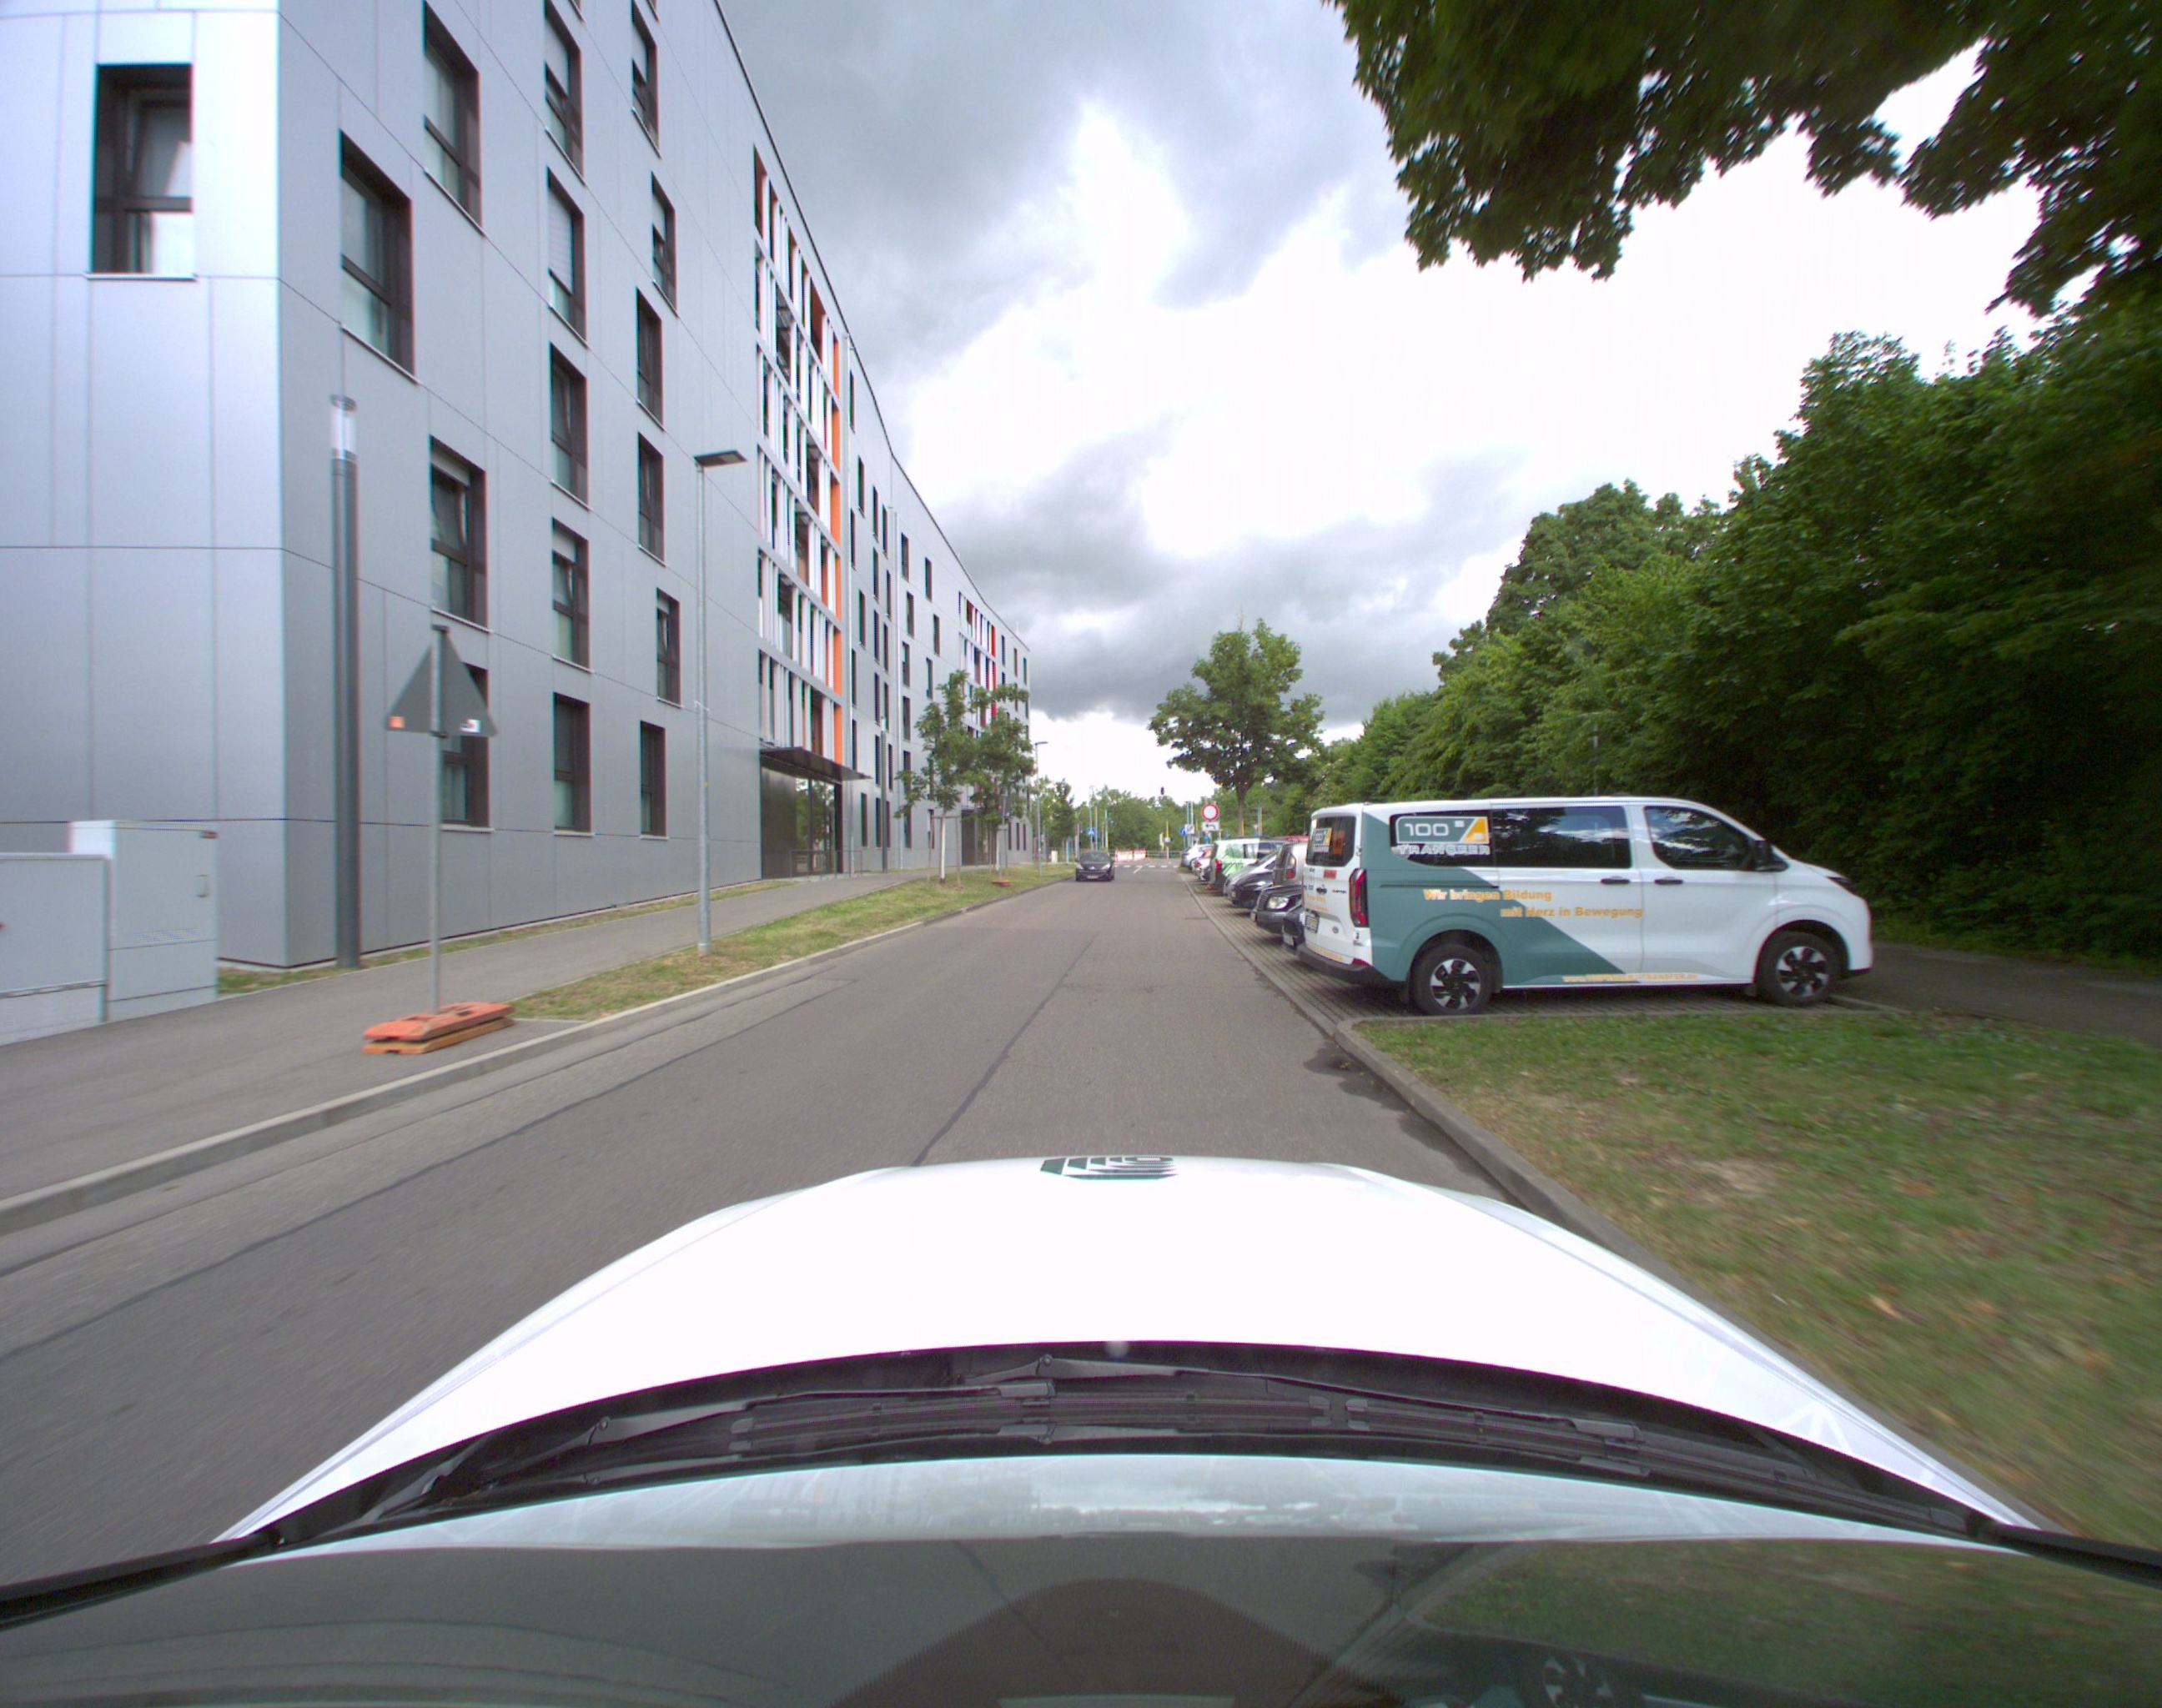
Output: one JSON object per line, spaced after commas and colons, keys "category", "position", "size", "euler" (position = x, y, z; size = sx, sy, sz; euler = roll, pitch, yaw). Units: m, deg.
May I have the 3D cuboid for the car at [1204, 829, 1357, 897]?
{"category": "car", "position": [6.196, 0.269, 25.692], "size": [4.360, 1.904, 1.918], "euler": [-2, 0, 3]}

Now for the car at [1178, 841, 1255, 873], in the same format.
{"category": "car", "position": [8.056, 0.160, 48.723], "size": [4.360, 1.903, 1.918], "euler": [0, 1, 3]}

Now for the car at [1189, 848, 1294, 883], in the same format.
{"category": "car", "position": [7.102, 0.494, 36.383], "size": [4.360, 1.475, 1.918], "euler": [0, 1, 3]}

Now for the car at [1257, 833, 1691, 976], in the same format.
{"category": "car", "position": [4.805, 0.593, 10.533], "size": [4.683, 1.516, 1.848], "euler": [-2, 0, 3]}

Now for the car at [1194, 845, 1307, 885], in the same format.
{"category": "car", "position": [6.943, 0.444, 33.651], "size": [4.360, 1.573, 1.918], "euler": [0, 0, 3]}

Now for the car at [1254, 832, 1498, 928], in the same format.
{"category": "car", "position": [5.567, 0.465, 15.781], "size": [4.048, 1.609, 1.894], "euler": [-2, 0, 3]}

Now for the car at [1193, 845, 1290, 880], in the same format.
{"category": "car", "position": [7.611, 0.393, 38.972], "size": [4.360, 1.617, 1.918], "euler": [0, 1, 3]}

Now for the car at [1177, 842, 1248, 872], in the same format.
{"category": "car", "position": [8.515, 0.161, 53.057], "size": [4.360, 1.903, 1.918], "euler": [0, 1, 3]}

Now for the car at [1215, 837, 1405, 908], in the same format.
{"category": "car", "position": [5.754, 0.448, 20.902], "size": [4.360, 1.577, 1.918], "euler": [-2, 0, 3]}

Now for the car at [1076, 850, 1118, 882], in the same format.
{"category": "car", "position": [0.795, 0.535, 38.809], "size": [1.600, 1.388, 4.008], "euler": [1, 1, 7]}

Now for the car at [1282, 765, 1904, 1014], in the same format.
{"category": "car", "position": [4.715, 0.295, 8.030], "size": [4.957, 1.972, 1.846], "euler": [-2, 0, -1]}

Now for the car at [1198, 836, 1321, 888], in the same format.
{"category": "car", "position": [6.773, 0.283, 31.254], "size": [4.360, 1.904, 1.938], "euler": [0, 1, 3]}

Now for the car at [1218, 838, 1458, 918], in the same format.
{"category": "car", "position": [5.624, 0.498, 18.303], "size": [4.709, 1.498, 2.112], "euler": [-2, 0, 0]}

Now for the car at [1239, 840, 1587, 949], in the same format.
{"category": "car", "position": [5.038, 0.594, 12.975], "size": [4.702, 1.434, 2.059], "euler": [-2, 0, 4]}

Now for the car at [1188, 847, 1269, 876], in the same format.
{"category": "car", "position": [8.321, 0.382, 46.261], "size": [4.360, 1.582, 1.918], "euler": [0, 1, 3]}
